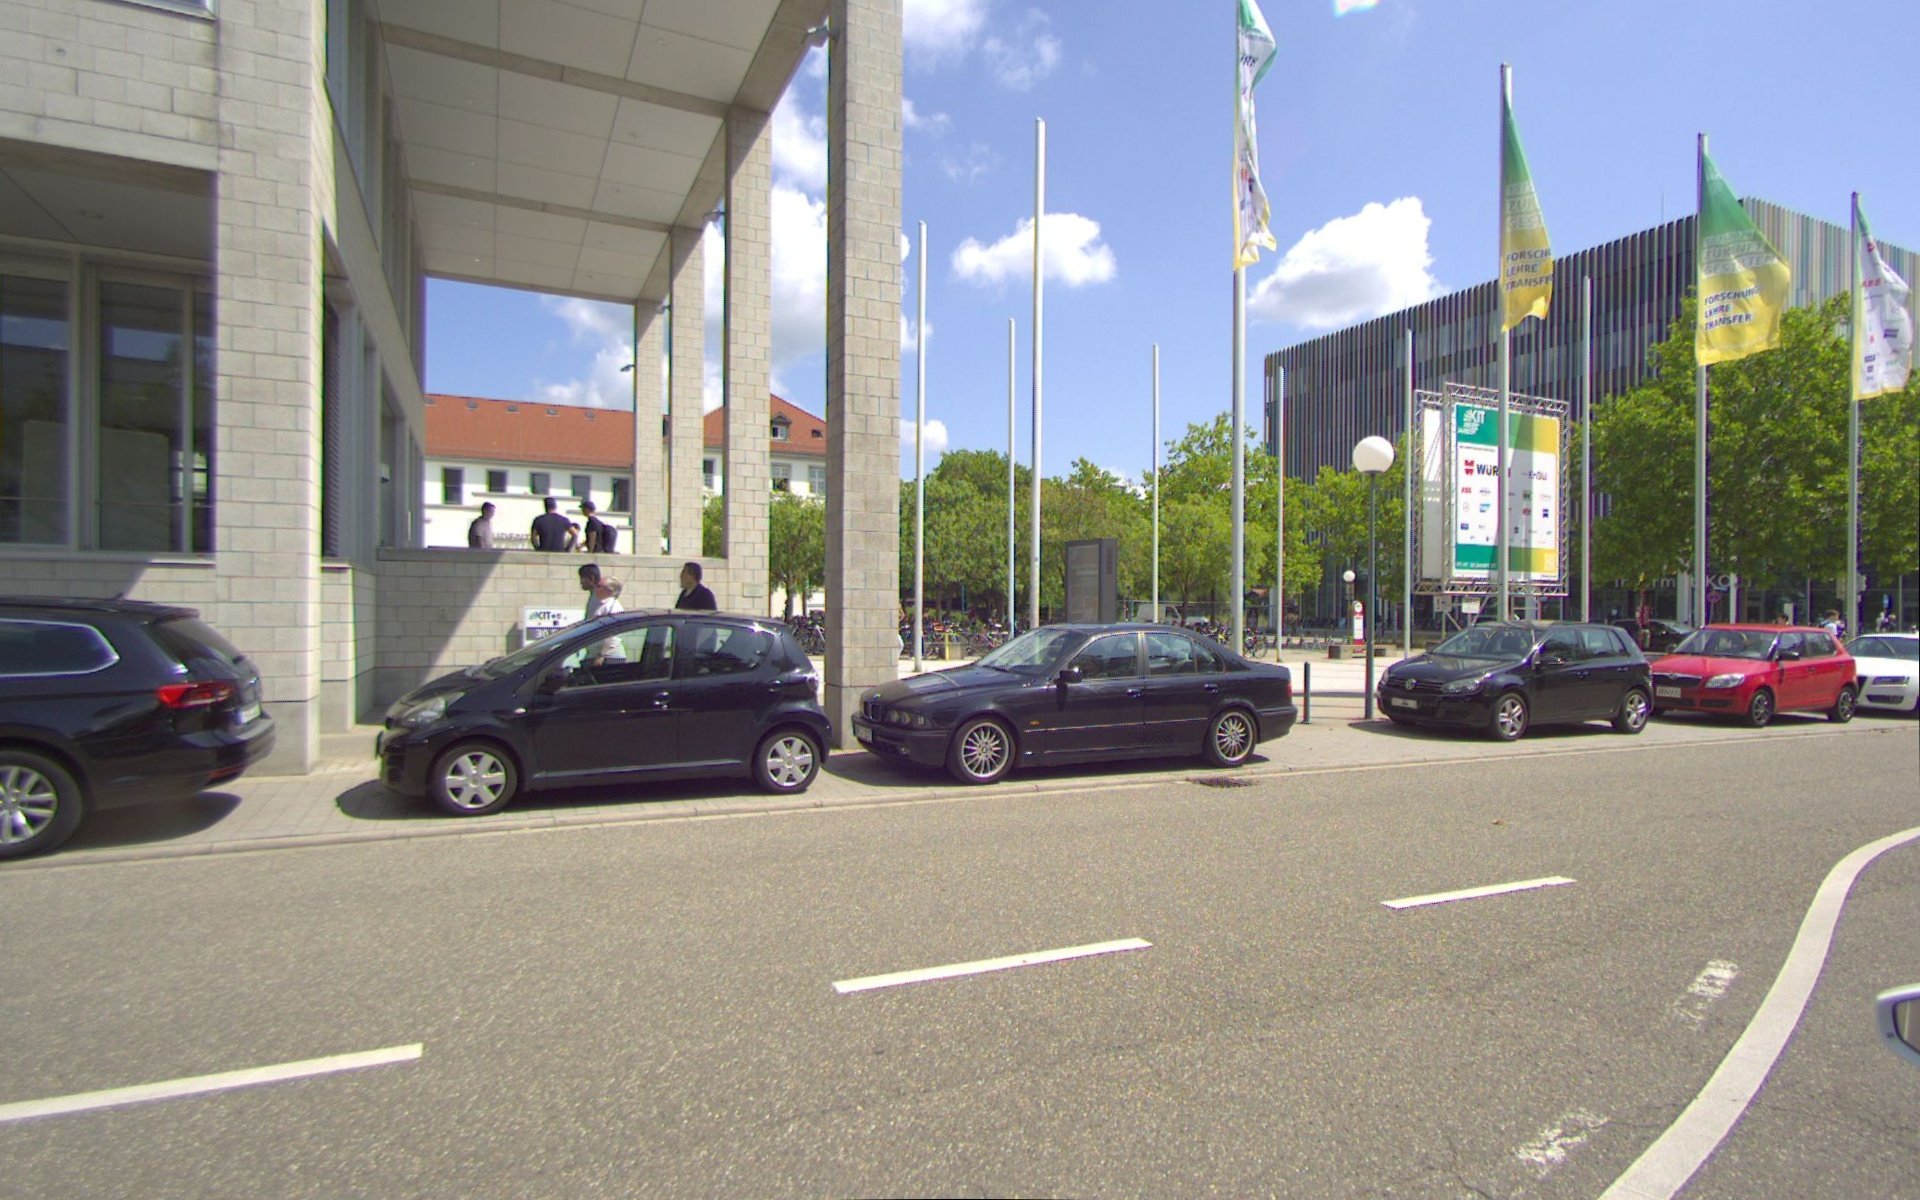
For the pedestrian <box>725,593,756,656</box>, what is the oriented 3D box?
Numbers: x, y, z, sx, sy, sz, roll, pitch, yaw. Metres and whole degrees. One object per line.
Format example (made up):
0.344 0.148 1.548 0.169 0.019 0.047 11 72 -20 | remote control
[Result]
-6.379 0.711 29.135 0.728 1.797 0.755 1 0 -25 | pedestrian

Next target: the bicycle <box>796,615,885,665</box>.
-3.780 1.225 31.534 2.909 1.430 1.142 1 0 42 | bicycle

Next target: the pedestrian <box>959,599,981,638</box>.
0.575 1.095 58.275 1.020 2.229 1.160 0 -1 13 | pedestrian

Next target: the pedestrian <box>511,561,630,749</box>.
-4.512 0.607 11.620 1.151 2.040 0.979 1 0 -30 | pedestrian

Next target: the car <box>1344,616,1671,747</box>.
7.429 1.012 13.623 4.138 1.487 1.743 1 1 -24 | car

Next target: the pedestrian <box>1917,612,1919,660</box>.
37.291 1.374 38.152 1.075 1.843 0.864 0 -1 -2 | pedestrian

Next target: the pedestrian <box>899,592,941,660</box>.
-1.187 0.758 29.618 0.932 1.966 0.982 1 0 -25 | pedestrian

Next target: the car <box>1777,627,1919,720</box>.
16.856 1.235 17.958 4.599 1.414 1.671 1 1 -26 | car

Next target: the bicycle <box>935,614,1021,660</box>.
0.591 1.223 34.188 2.909 1.430 1.142 1 0 42 | bicycle

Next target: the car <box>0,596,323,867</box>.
-6.721 0.731 6.054 4.656 1.487 1.853 1 1 -26 | car

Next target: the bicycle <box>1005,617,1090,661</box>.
3.084 1.355 35.571 2.909 1.430 1.142 1 0 42 | bicycle

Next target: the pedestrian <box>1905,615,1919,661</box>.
34.403 1.352 35.819 0.787 1.619 0.768 0 -1 -24 | pedestrian

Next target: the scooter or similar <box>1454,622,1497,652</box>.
21.390 1.526 41.737 0.486 1.212 1.727 0 -1 -19 | scooter or similar

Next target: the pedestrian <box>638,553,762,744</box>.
-2.971 0.527 11.460 1.151 2.040 0.979 1 0 -30 | pedestrian

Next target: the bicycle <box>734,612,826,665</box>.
-5.368 1.112 29.799 2.909 1.430 1.142 1 0 42 | bicycle

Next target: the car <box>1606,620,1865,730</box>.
12.331 1.113 15.961 3.858 1.487 1.671 1 1 -25 | car

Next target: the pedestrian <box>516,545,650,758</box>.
-3.902 0.506 10.386 1.151 2.040 0.979 1 0 -30 | pedestrian

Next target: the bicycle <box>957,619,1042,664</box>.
1.350 1.410 35.103 2.909 1.430 1.142 1 0 42 | bicycle

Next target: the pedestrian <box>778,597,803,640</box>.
-8.927 0.995 52.852 1.028 2.229 1.017 0 -1 -27 | pedestrian

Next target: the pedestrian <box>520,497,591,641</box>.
-5.989 -0.434 14.846 0.898 2.040 0.974 1 0 -26 | pedestrian

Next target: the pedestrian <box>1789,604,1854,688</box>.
19.928 1.042 23.241 1.073 1.876 0.718 0 1 -22 | pedestrian

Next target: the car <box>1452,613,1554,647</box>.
28.666 1.564 53.231 1.630 1.683 4.797 0 -1 -24 | car

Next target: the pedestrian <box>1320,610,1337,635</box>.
34.038 2.082 92.794 1.001 2.231 0.969 1 0 -26 | pedestrian

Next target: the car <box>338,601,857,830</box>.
-2.851 0.796 8.240 3.658 1.487 1.633 1 1 -26 | car

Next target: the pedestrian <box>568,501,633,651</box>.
-6.050 -0.385 16.897 0.748 2.454 0.735 0 0 38 | pedestrian

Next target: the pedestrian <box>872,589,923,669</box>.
-1.636 0.746 26.356 0.976 2.040 1.051 1 0 -29 | pedestrian

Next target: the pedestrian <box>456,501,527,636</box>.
-7.776 -0.511 16.696 0.789 2.174 0.706 1 0 4 | pedestrian

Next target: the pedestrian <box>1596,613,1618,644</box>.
49.187 2.169 76.347 1.001 2.377 0.969 1 0 -26 | pedestrian

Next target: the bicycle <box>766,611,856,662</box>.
-4.575 1.094 30.672 2.909 1.430 1.142 1 0 42 | bicycle

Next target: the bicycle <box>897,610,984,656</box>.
-0.678 1.085 33.638 2.909 1.430 1.142 1 0 42 | bicycle

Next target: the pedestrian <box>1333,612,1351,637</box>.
33.886 2.192 89.135 1.113 2.205 0.969 1 0 -26 | pedestrian

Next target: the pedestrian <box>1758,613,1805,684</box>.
22.172 1.304 27.111 0.759 1.884 0.717 0 0 -24 | pedestrian

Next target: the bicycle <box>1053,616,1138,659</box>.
4.836 1.329 36.034 2.909 1.430 1.142 1 0 42 | bicycle

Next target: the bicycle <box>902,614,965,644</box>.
-1.315 1.423 49.424 2.913 1.430 1.058 1 0 -27 | bicycle

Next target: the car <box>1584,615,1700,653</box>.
31.674 1.532 46.782 1.630 1.683 4.271 0 -1 -24 | car

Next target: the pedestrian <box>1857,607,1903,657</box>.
35.427 1.242 38.679 0.987 1.901 0.855 0 -1 -3 | pedestrian

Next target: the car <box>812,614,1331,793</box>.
1.166 0.889 10.107 4.947 1.397 1.854 1 1 -25 | car

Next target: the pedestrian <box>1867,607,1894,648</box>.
58.641 1.755 63.988 0.957 2.599 1.014 1 0 22 | pedestrian

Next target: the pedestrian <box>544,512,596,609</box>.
-7.345 -0.717 18.902 0.752 1.780 0.731 1 0 -35 | pedestrian

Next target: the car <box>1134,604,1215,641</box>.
11.695 1.209 55.077 1.842 1.965 4.743 0 -1 -27 | car

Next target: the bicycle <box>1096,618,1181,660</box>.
6.454 1.387 36.389 2.909 1.430 1.060 1 0 43 | bicycle

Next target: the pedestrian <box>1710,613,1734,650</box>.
54.650 2.266 72.042 1.001 2.599 0.969 1 0 -26 | pedestrian

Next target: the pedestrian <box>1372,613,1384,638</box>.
35.905 2.178 86.343 0.579 2.104 0.732 0 0 -24 | pedestrian

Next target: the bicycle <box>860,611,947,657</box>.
-1.877 1.088 33.038 2.909 1.430 1.142 1 0 42 | bicycle
